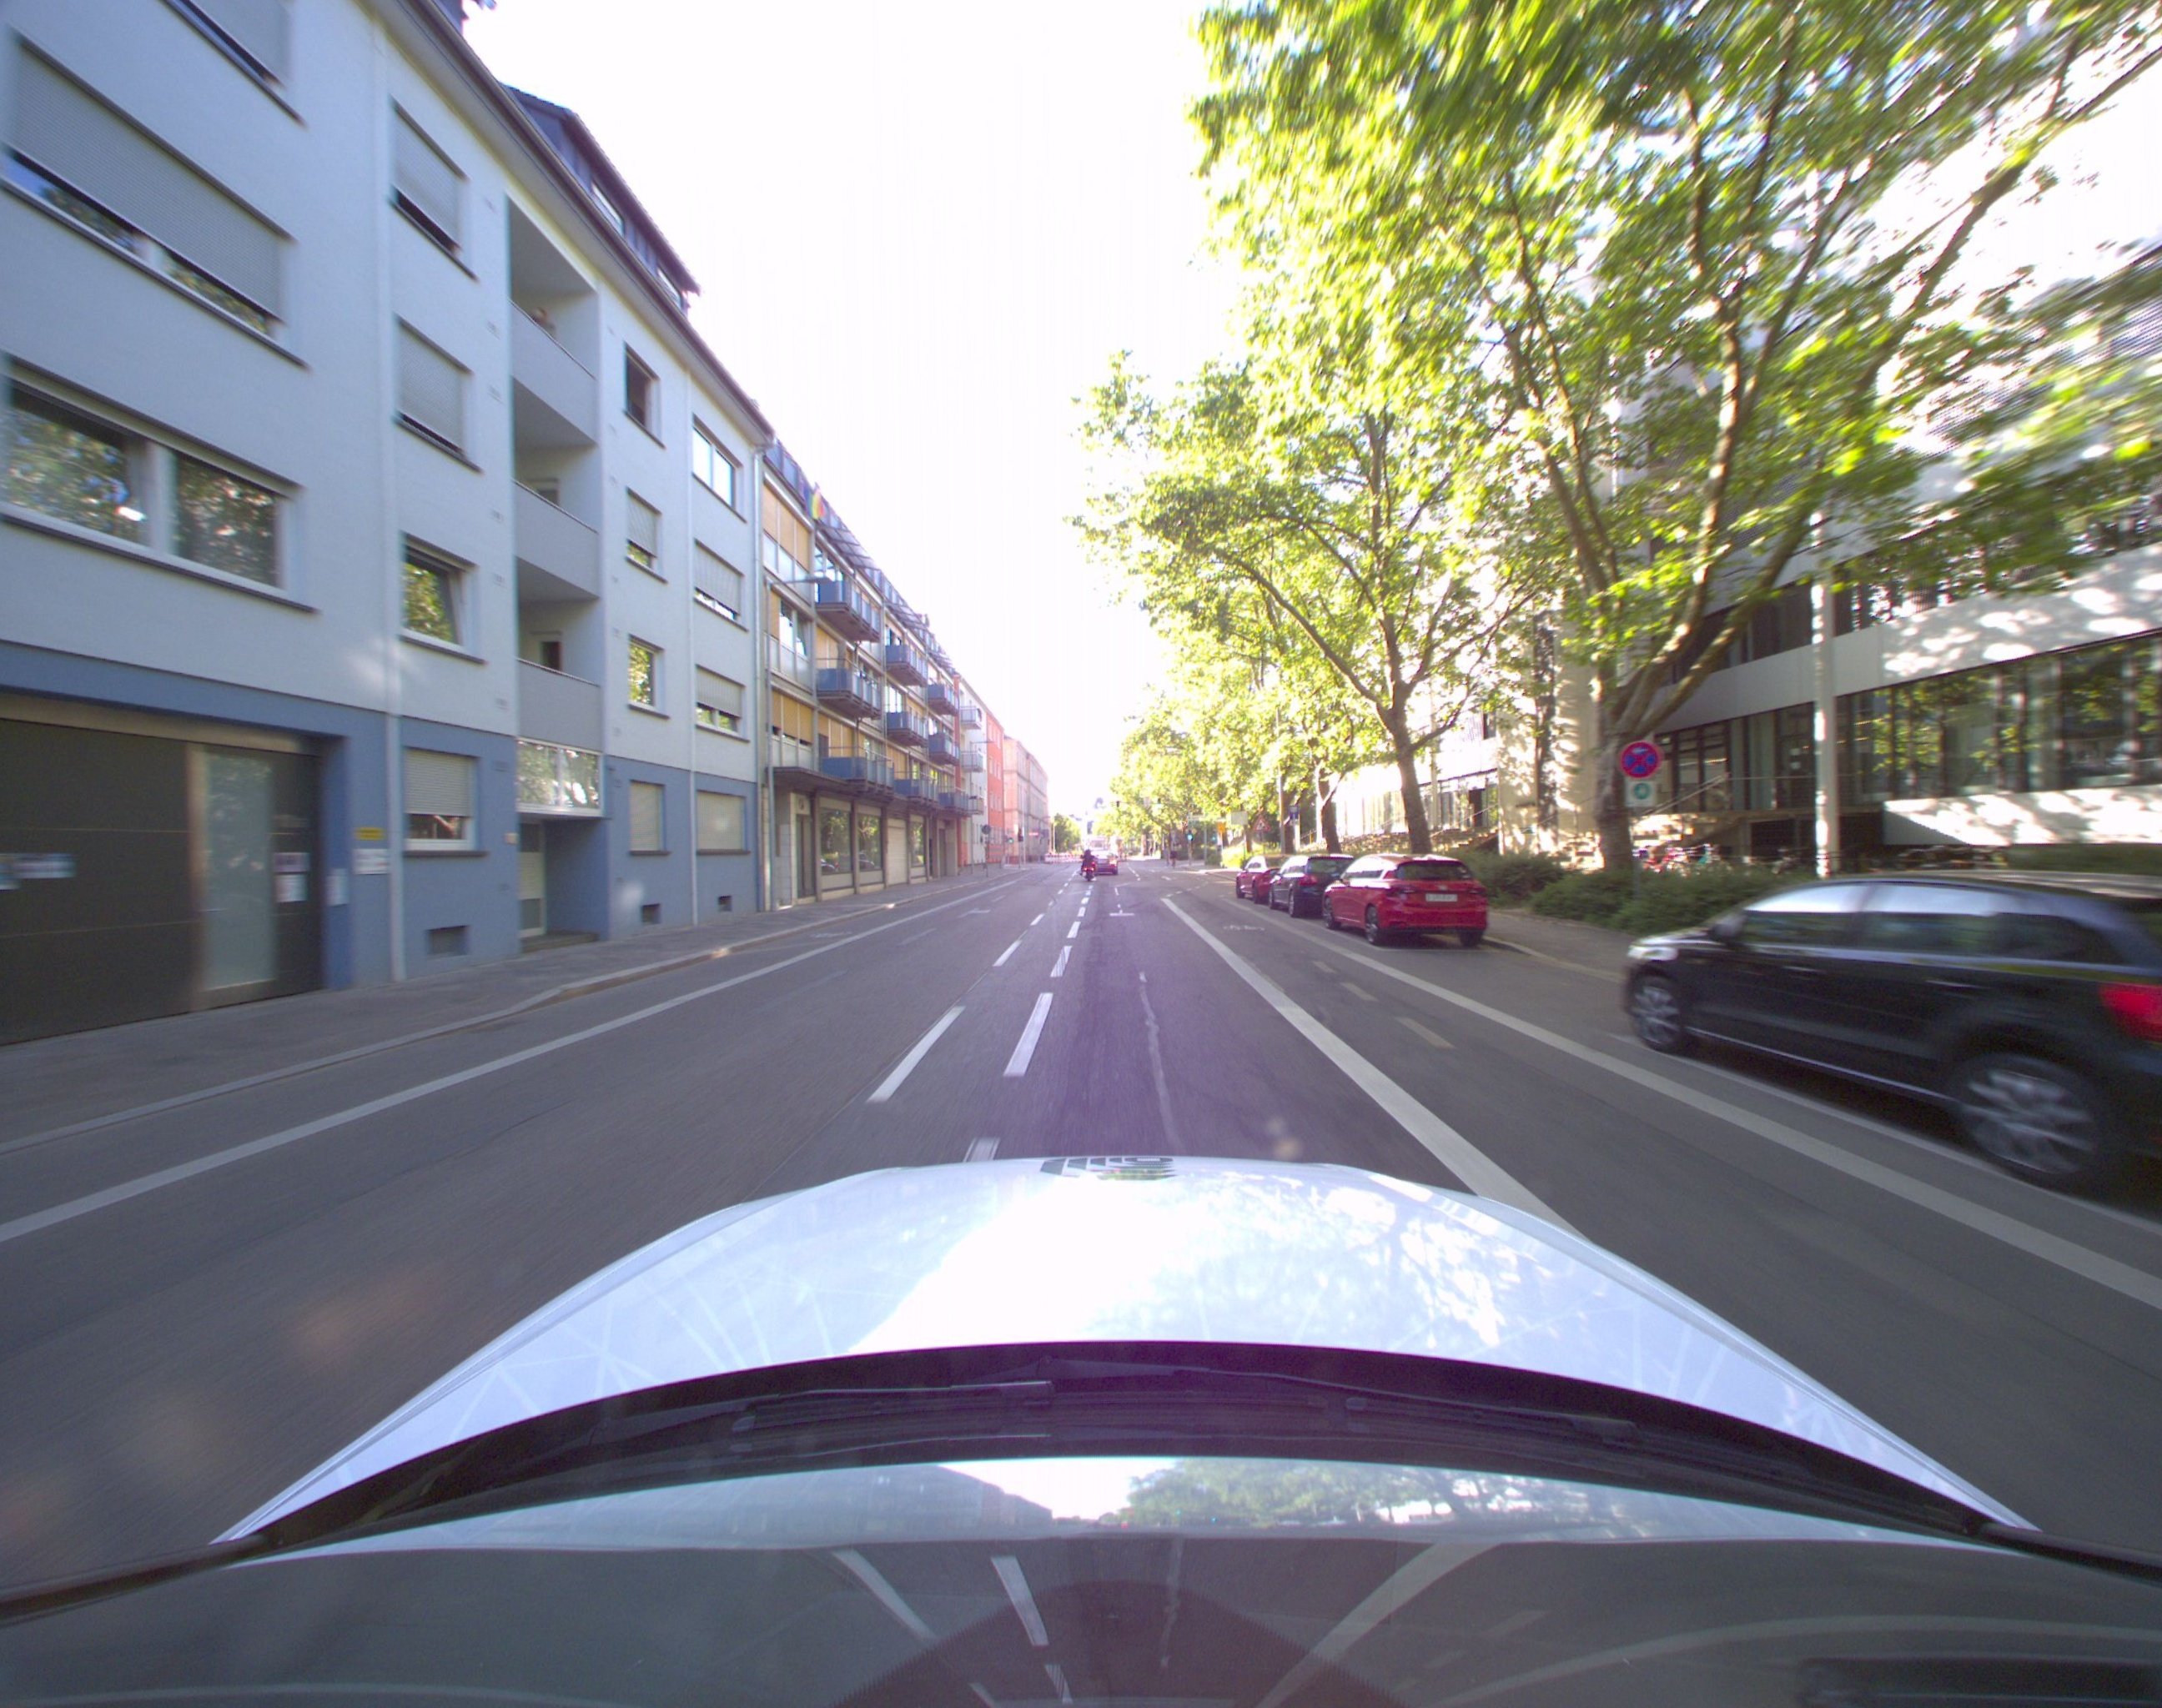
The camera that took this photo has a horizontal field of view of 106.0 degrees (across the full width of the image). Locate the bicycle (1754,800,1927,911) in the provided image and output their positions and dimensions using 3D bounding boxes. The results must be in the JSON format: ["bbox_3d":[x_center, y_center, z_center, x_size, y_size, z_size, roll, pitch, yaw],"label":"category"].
[{"bbox_3d":[14.568,0.026,15.666,2.588,2.013,0.743,-1,0,1],"label":"bicycle"}]

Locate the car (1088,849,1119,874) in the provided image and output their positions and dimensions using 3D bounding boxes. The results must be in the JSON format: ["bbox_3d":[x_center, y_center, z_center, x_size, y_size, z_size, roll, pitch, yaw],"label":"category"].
[{"bbox_3d":[1.334,0.440,48.965,1.822,1.420,3.816,-1,0,1],"label":"car"}]

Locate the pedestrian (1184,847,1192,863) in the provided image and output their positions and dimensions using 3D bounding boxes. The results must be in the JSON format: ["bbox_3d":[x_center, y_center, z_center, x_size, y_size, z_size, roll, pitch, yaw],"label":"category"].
[{"bbox_3d":[12.146,0.123,92.440,0.617,1.774,0.576,0,-1,37],"label":"pedestrian"}]

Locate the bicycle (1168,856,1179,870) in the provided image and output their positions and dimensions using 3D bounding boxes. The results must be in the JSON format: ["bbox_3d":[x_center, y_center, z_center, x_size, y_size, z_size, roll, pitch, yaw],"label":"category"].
[{"bbox_3d":[7.328,0.730,64.359,0.654,1.070,1.927,0,0,1],"label":"bicycle"}]

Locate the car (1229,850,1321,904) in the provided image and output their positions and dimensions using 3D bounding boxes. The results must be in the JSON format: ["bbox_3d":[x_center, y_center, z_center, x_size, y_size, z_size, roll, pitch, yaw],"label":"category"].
[{"bbox_3d":[5.754,0.629,24.716,1.688,1.449,4.435,1,0,-1],"label":"car"}]

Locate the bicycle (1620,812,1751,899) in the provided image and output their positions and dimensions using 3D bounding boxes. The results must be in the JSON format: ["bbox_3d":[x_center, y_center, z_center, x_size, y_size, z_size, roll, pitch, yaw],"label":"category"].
[{"bbox_3d":[14.635,0.039,19.772,2.588,2.013,0.743,-1,0,1],"label":"bicycle"}]

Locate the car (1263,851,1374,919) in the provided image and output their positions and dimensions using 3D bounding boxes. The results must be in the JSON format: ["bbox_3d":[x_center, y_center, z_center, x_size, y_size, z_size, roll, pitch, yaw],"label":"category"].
[{"bbox_3d":[5.687,0.664,19.993,1.686,1.466,4.068,1,0,3],"label":"car"}]

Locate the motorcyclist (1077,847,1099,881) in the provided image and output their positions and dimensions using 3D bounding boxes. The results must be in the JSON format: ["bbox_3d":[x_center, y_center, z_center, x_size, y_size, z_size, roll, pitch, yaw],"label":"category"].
[{"bbox_3d":[0.355,0.460,39.852,1.008,1.602,1.406,-1,0,1],"label":"motorcyclist"}]

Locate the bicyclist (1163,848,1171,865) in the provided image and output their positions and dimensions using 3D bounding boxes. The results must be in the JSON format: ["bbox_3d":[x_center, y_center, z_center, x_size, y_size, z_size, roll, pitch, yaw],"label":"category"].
[{"bbox_3d":[7.743,0.220,73.169,0.654,1.530,0.906,0,0,1],"label":"bicyclist"}]

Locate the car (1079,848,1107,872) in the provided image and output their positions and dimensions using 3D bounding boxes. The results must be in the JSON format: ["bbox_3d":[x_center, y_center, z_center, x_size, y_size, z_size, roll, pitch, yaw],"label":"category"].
[{"bbox_3d":[0.796,0.407,57.257,1.627,1.650,3.845,0,0,-4],"label":"car"}]

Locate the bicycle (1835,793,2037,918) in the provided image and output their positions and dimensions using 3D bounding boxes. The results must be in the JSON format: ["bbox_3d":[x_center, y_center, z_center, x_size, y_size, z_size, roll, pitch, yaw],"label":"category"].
[{"bbox_3d":[14.475,0.020,13.837,2.588,2.013,0.743,-1,0,1],"label":"bicycle"}]

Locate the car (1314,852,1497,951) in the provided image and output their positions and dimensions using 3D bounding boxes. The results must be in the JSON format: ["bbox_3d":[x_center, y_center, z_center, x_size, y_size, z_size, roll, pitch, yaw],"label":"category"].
[{"bbox_3d":[5.599,0.733,14.685,1.686,1.479,4.320,1,0,2],"label":"car"}]

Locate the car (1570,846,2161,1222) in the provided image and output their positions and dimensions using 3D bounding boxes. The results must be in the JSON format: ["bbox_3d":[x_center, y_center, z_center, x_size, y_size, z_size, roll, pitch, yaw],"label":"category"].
[{"bbox_3d":[5.165,0.725,5.167,1.688,1.503,4.019,1,0,-1],"label":"car"}]

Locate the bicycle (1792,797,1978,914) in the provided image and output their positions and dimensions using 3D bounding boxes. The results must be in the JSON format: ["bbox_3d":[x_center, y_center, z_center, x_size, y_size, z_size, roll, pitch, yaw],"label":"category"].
[{"bbox_3d":[14.534,0.023,14.766,2.588,2.013,0.743,-1,0,1],"label":"bicycle"}]

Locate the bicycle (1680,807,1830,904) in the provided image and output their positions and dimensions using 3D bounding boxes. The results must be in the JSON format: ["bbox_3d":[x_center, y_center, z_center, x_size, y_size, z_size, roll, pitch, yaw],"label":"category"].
[{"bbox_3d":[14.602,0.033,17.691,2.588,2.013,0.743,-1,0,1],"label":"bicycle"}]

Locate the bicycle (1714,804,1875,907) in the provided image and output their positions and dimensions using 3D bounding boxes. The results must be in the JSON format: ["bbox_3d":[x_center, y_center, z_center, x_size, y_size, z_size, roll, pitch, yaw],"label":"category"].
[{"bbox_3d":[14.574,0.029,16.674,2.588,2.013,0.743,-1,0,1],"label":"bicycle"}]

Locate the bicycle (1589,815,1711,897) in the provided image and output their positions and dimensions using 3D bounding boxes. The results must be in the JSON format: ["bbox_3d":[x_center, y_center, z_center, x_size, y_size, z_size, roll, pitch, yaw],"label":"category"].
[{"bbox_3d":[14.597,0.043,20.940,2.588,2.013,0.743,-1,0,1],"label":"bicycle"}]

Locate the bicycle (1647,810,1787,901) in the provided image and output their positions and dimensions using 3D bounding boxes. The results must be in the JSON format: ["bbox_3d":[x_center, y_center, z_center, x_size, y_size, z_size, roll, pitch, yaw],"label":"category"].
[{"bbox_3d":[14.632,0.036,18.777,2.588,2.013,0.743,-1,0,1],"label":"bicycle"}]

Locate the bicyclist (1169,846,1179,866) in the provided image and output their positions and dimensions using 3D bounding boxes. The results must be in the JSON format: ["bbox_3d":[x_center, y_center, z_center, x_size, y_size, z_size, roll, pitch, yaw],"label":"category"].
[{"bbox_3d":[7.336,0.177,64.390,0.654,1.530,0.852,0,0,1],"label":"bicyclist"}]

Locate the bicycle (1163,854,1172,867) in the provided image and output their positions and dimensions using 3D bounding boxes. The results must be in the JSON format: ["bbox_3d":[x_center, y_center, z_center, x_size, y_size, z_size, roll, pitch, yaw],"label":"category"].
[{"bbox_3d":[7.741,0.569,73.121,0.654,1.111,2.186,0,0,1],"label":"bicycle"}]

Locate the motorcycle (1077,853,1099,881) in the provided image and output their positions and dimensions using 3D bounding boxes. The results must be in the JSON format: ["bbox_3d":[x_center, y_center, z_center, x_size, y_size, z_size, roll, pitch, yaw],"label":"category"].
[{"bbox_3d":[0.352,0.620,39.708,1.008,1.306,2.673,-1,0,1],"label":"motorcycle"}]
